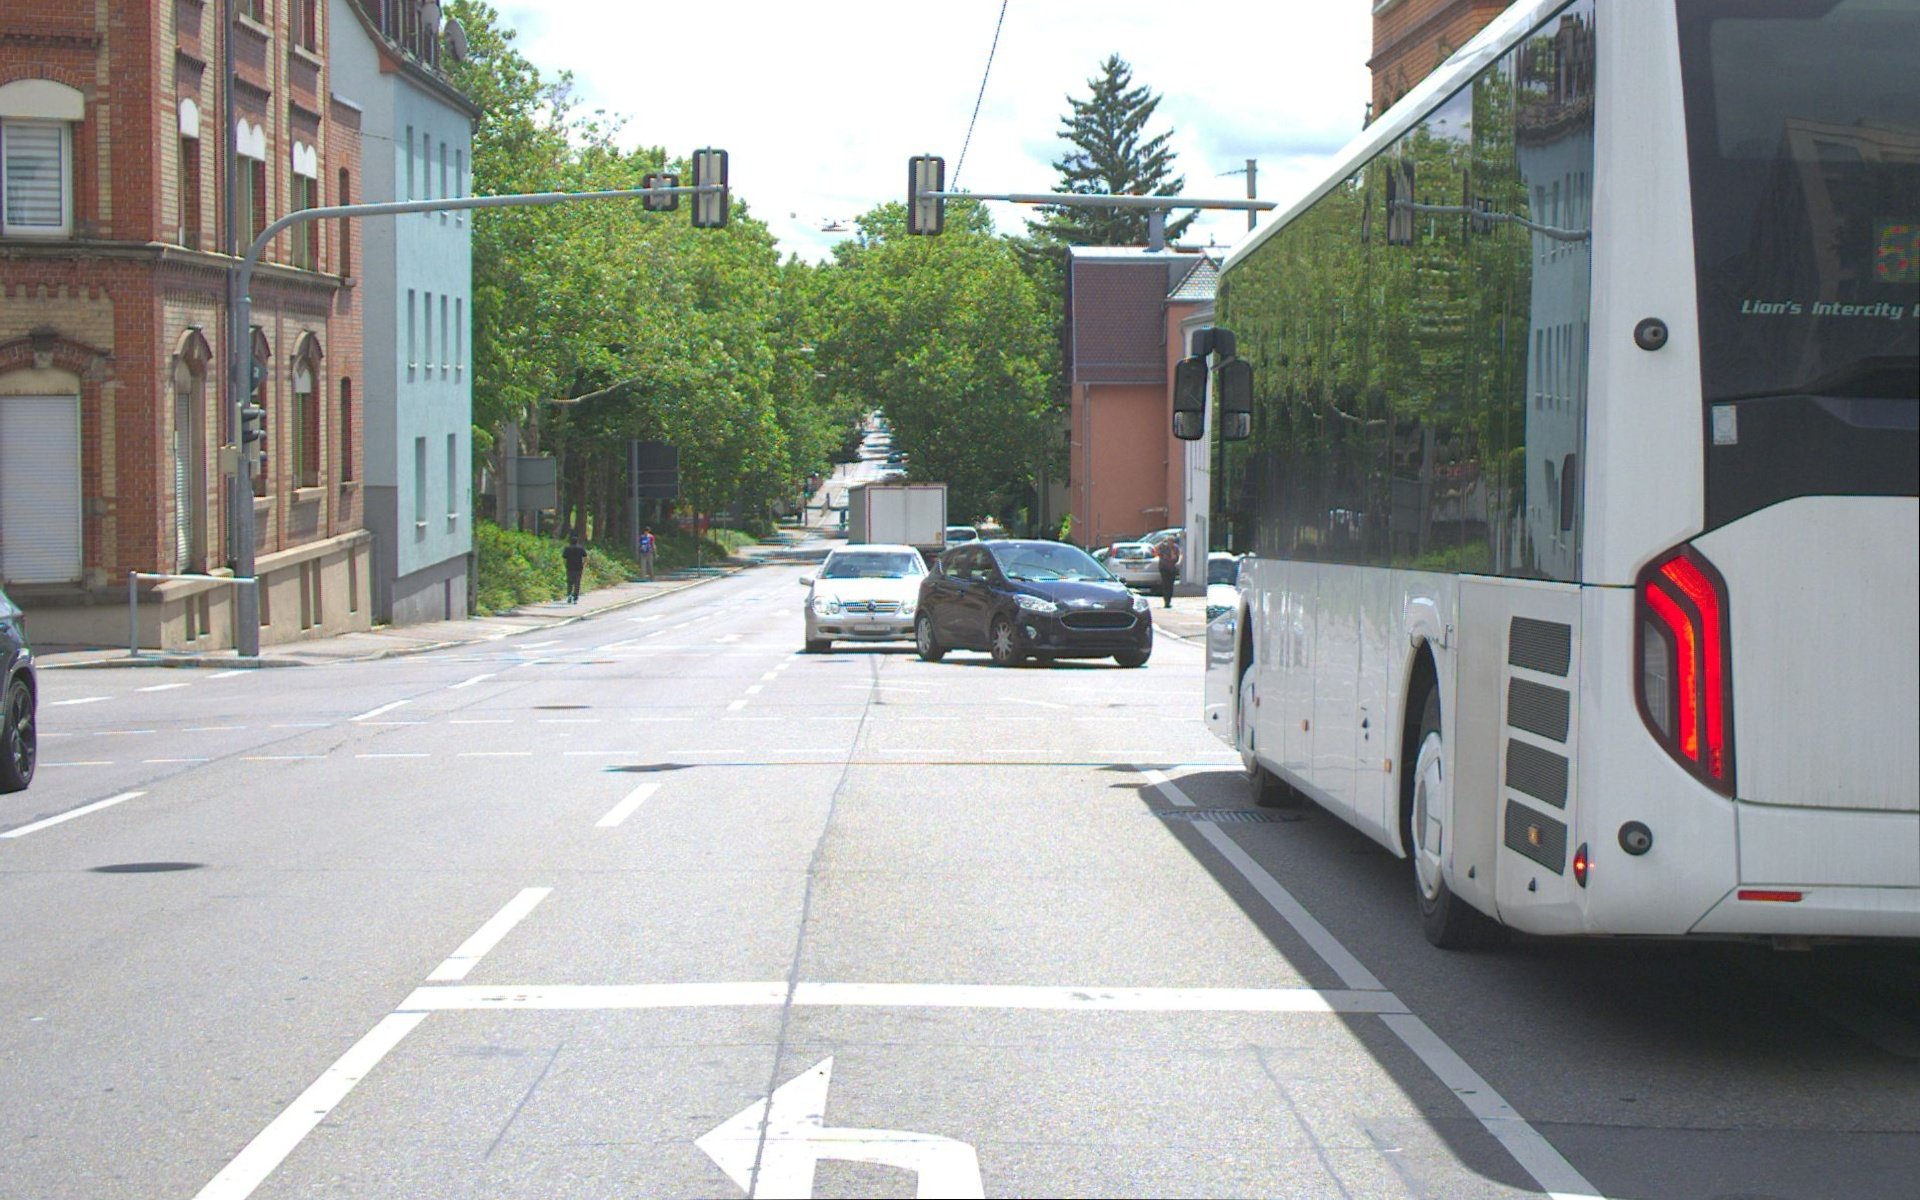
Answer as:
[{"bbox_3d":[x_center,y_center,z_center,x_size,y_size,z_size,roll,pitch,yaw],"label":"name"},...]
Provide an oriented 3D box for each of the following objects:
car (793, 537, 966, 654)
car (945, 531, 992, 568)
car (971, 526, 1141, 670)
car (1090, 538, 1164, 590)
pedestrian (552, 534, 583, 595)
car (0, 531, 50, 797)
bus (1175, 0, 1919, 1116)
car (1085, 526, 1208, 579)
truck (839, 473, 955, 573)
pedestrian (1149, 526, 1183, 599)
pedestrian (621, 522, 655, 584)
[{"bbox_3d":[-1.002,-0.087,44.991,1.699,1.422,3.999,-1,1,7],"label":"car"},{"bbox_3d":[0.316,-1.989,135.469,1.794,1.405,4.000,1,1,-1],"label":"car"},{"bbox_3d":[1.048,-0.065,39.239,1.758,1.511,3.794,-1,2,-1],"label":"car"},{"bbox_3d":[4.786,-1.043,98.993,1.794,1.405,4.001,-1,2,-2],"label":"car"},{"bbox_3d":[-9.930,-0.900,87.028,0.729,1.560,0.561,0,1,-1],"label":"pedestrian"},{"bbox_3d":[-6.372,0.406,18.758,1.758,1.516,3.958,-1,1,0],"label":"car"},{"bbox_3d":[2.764,-0.408,15.162,2.672,3.145,12.463,-1,1,-1],"label":"bus"},{"bbox_3d":[6.439,-1.647,119.092,3.986,1.751,2.000,-1,1,-5],"label":"car"},{"bbox_3d":[-2.104,-2.512,111.287,2.925,3.070,7.887,-1,1,-7],"label":"truck"},{"bbox_3d":[4.942,-0.899,82.557,0.738,1.744,0.619,-1,1,-1],"label":"pedestrian"},{"bbox_3d":[-10.634,-1.551,113.527,0.995,2.007,1.189,-1,1,-1],"label":"pedestrian"}]
